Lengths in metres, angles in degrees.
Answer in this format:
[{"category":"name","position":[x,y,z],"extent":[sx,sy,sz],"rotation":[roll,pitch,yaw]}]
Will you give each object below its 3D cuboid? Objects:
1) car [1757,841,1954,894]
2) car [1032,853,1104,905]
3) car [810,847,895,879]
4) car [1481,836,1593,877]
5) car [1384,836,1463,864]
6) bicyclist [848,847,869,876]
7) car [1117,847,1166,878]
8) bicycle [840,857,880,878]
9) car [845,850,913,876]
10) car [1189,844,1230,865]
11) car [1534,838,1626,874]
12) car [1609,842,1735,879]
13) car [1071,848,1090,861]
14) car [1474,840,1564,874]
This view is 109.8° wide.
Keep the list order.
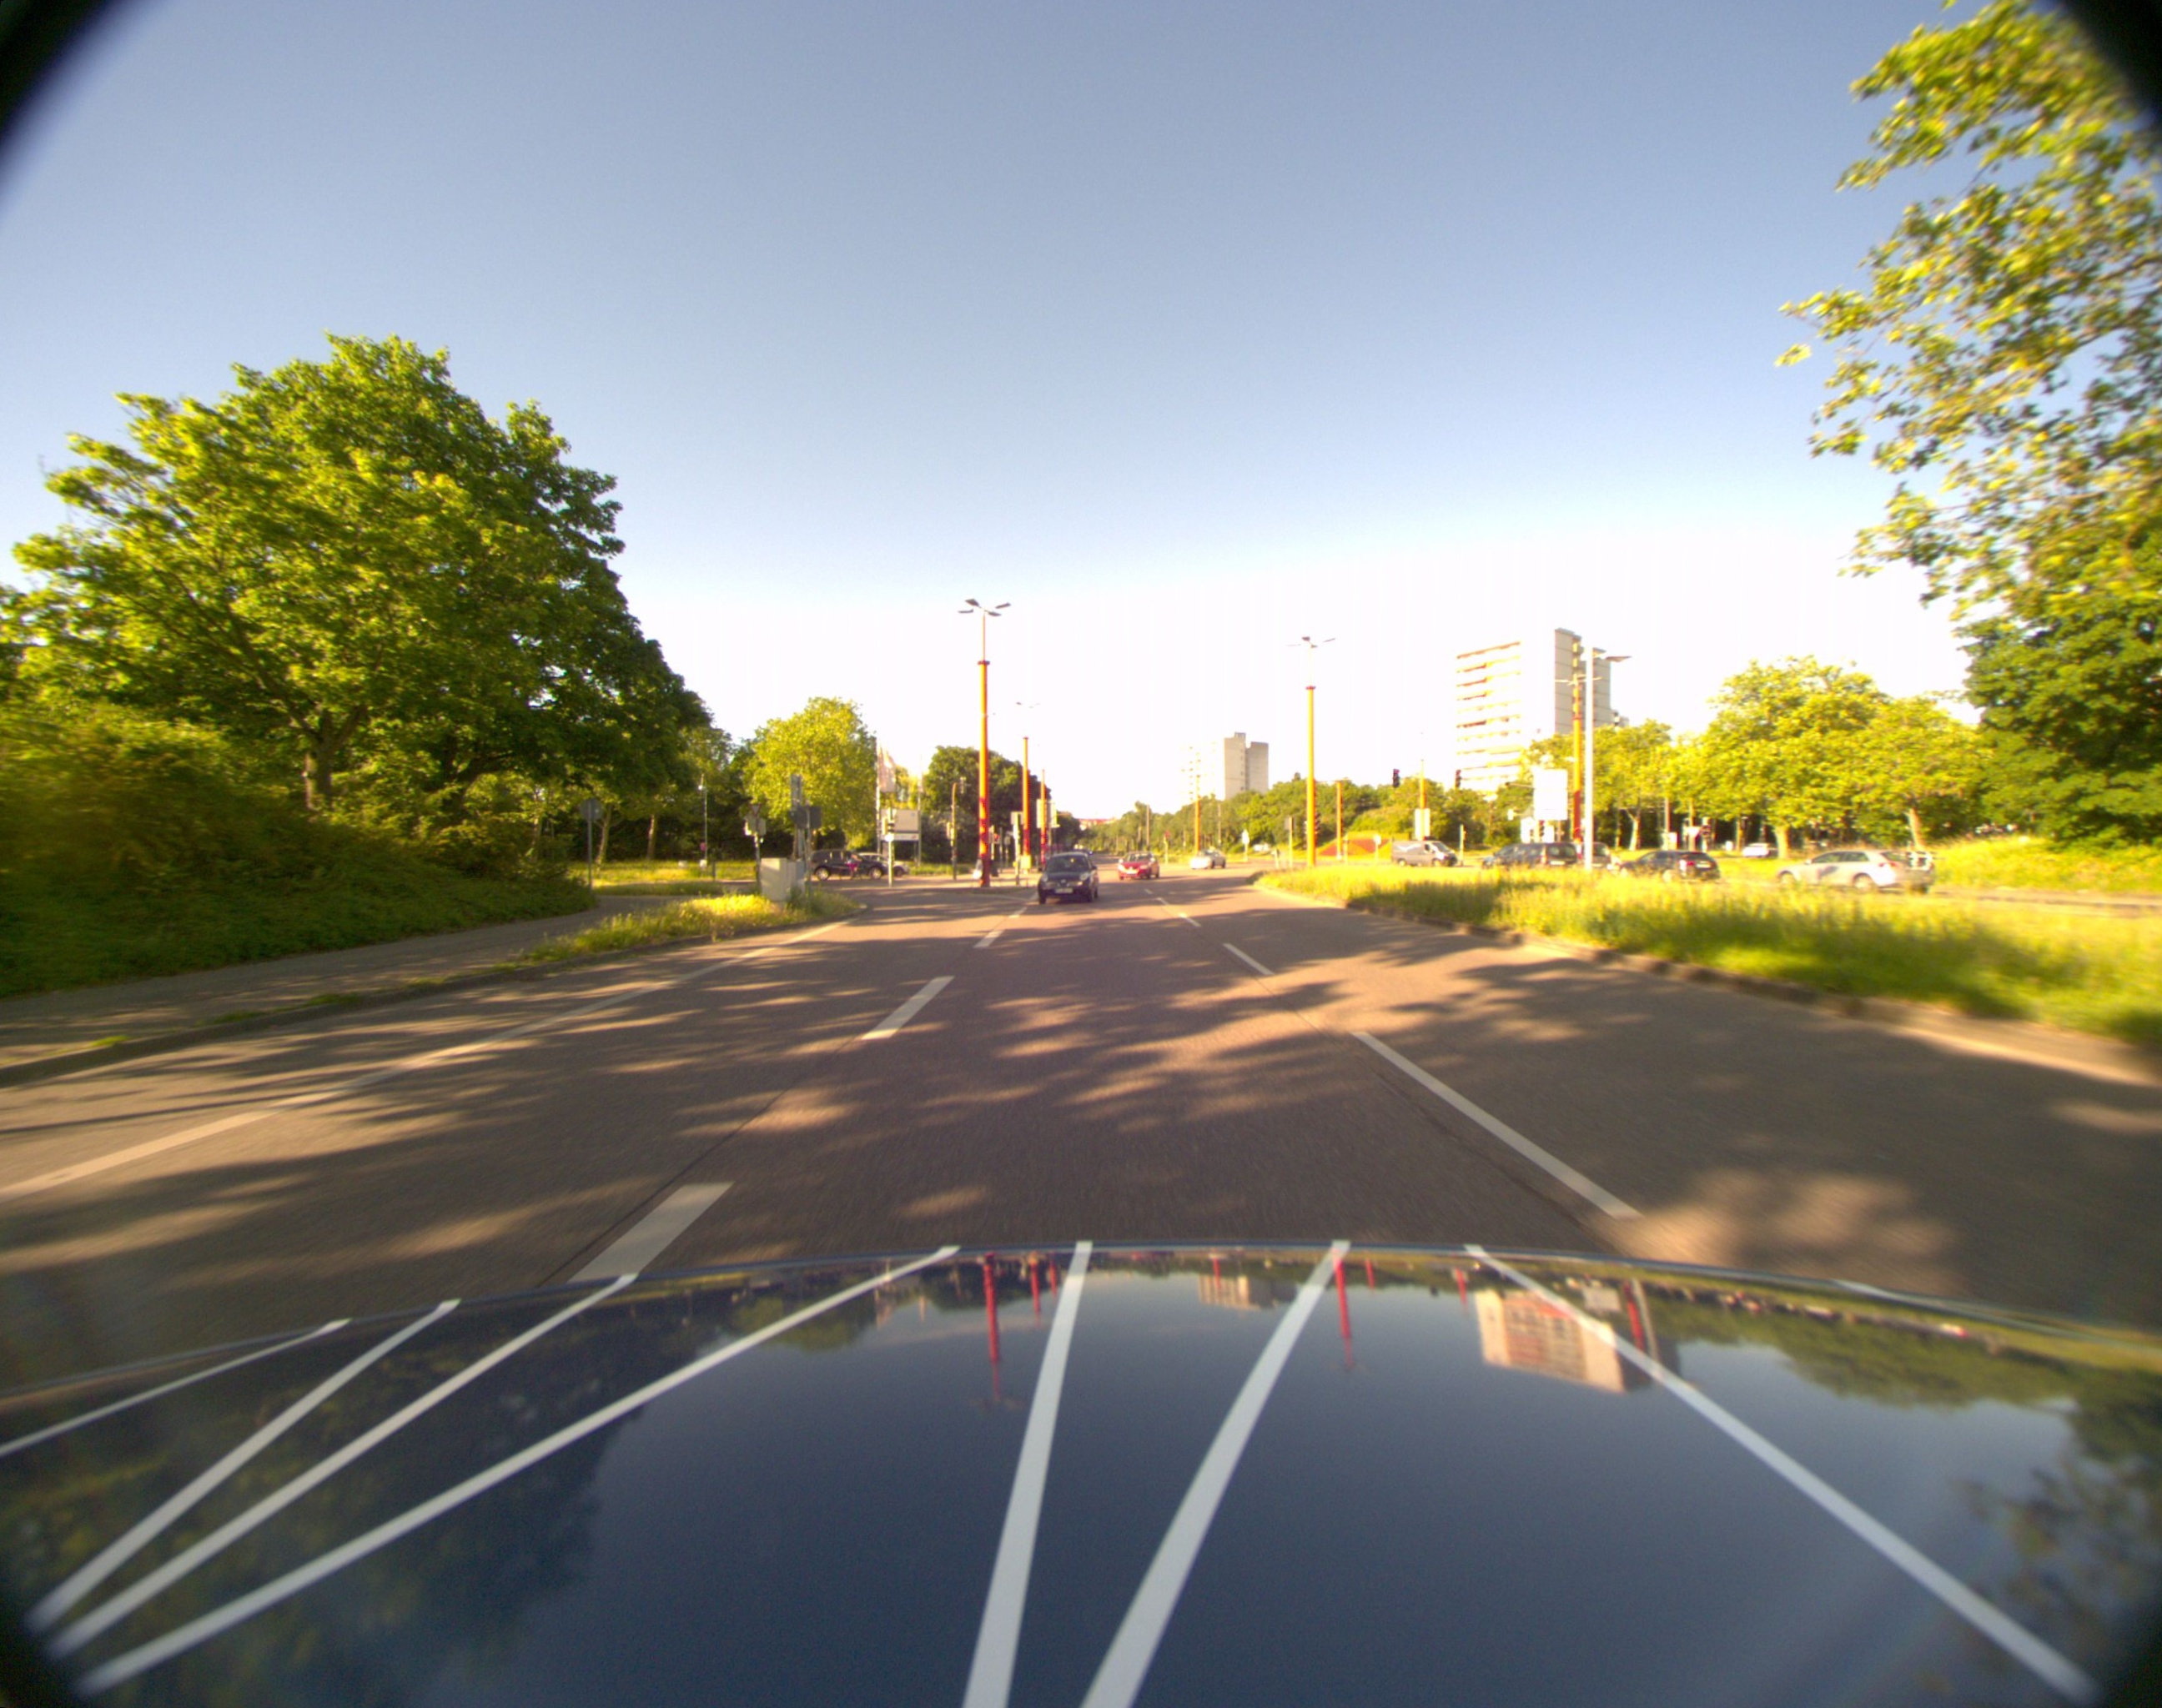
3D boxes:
[{"category":"car","position":[25.616,0.386,25.419],"extent":[1.903,1.601,4.565],"rotation":[1,1,1]},{"category":"car","position":[-0.313,0.726,24.464],"extent":[1.738,1.474,4.624],"rotation":[-1,0,6]},{"category":"car","position":[-13.296,0.492,44.354],"extent":[4.656,1.716,1.905],"rotation":[-1,1,-17]},{"category":"car","position":[18.630,0.062,31.327],"extent":[1.903,1.556,4.565],"rotation":[1,1,1]},{"category":"car","position":[28.334,-0.310,63.070],"extent":[2.045,2.191,5.646],"rotation":[-2,1,-38]},{"category":"bicyclist","position":[-12.050,0.382,41.150],"extent":[0.981,1.549,0.761],"rotation":[0,1,-10]},{"category":"car","position":[3.309,0.405,40.769],"extent":[1.770,1.549,4.731],"rotation":[-1,0,15]},{"category":"bicycle","position":[-11.969,0.723,41.175],"extent":[2.015,1.085,0.765],"rotation":[0,1,-10]},{"category":"car","position":[-12.898,0.573,48.432],"extent":[4.094,1.530,1.770],"rotation":[-1,1,-18]},{"category":"car","position":[9.925,0.037,58.613],"extent":[1.910,1.549,4.734],"rotation":[-1,0,25]},{"category":"car","position":[25.820,0.082,39.528],"extent":[1.903,1.765,4.446],"rotation":[1,1,1]},{"category":"car","position":[25.433,0.254,32.921],"extent":[1.903,1.466,4.565],"rotation":[1,1,1]},{"category":"car","position":[-0.130,0.058,87.807],"extent":[1.999,1.486,4.288],"rotation":[-1,1,-2]},{"category":"car","position":[21.891,0.104,38.245],"extent":[1.903,1.601,4.565],"rotation":[1,1,1]}]
